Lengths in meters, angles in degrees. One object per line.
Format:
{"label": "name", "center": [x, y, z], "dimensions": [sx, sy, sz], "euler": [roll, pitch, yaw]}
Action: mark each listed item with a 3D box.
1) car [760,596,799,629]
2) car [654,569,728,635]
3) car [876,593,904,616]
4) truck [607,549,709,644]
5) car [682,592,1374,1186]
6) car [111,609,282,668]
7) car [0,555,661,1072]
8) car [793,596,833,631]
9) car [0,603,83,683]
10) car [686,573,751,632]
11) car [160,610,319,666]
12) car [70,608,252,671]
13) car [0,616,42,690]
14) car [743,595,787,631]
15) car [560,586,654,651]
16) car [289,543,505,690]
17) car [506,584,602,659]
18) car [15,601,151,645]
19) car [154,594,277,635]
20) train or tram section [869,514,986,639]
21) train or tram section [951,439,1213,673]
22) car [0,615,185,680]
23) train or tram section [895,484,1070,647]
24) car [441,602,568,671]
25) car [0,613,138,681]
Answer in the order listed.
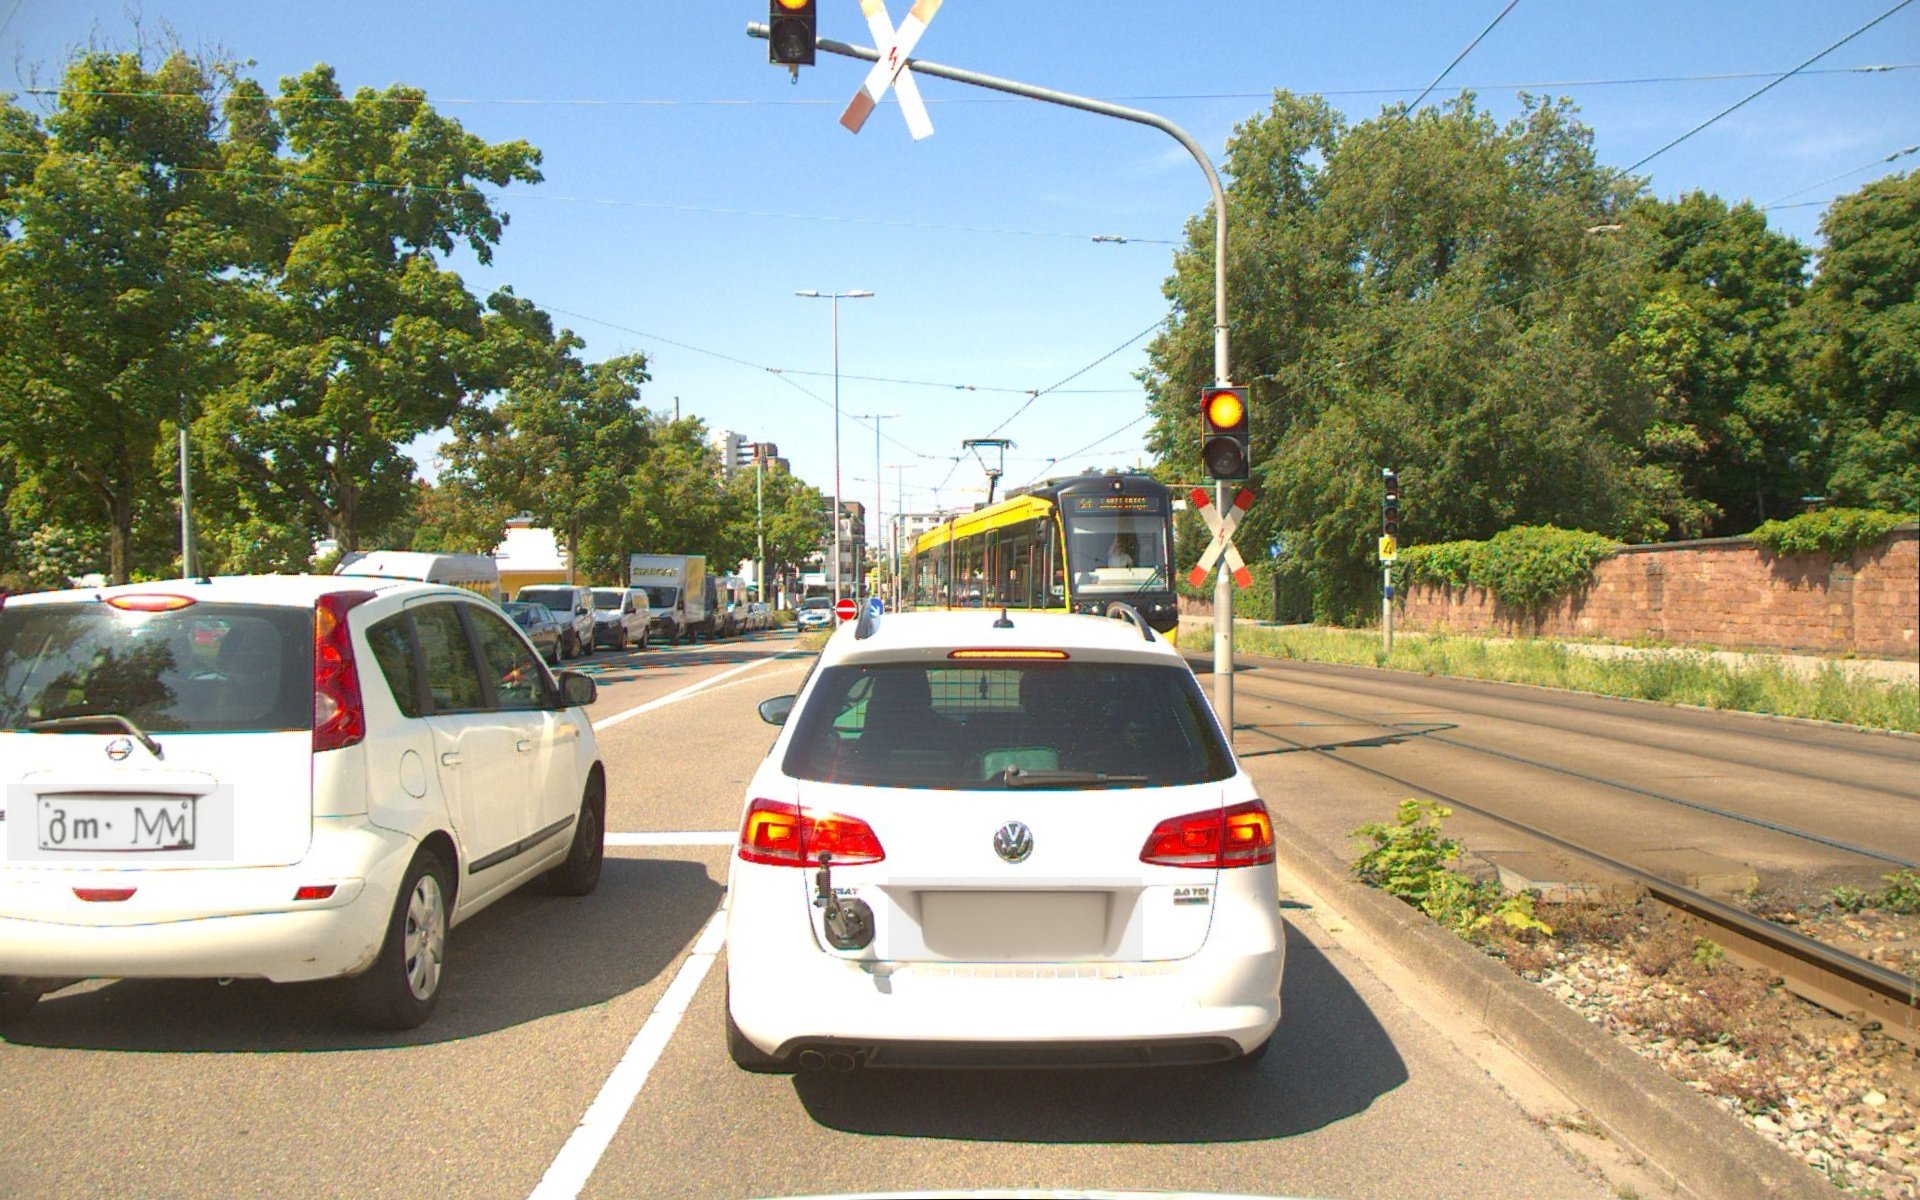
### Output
{"label": "car", "center": [-10.705, 0.719, 98.433], "dimensions": [1.826, 1.900, 5.412], "euler": [1, 0, -1]}
{"label": "car", "center": [-11.007, 0.069, 68.155], "dimensions": [2.079, 2.560, 5.733], "euler": [1, 0, 0]}
{"label": "car", "center": [-4.750, 0.281, 112.481], "dimensions": [1.670, 1.499, 4.589], "euler": [-1, 0, 0]}
{"label": "truck", "center": [-10.869, -0.141, 60.157], "dimensions": [2.371, 3.205, 6.996], "euler": [1, 0, 0]}
{"label": "car", "center": [0.148, 0.718, 6.189], "dimensions": [1.726, 1.455, 3.999], "euler": [-1, 0, -1]}
{"label": "car", "center": [-21.232, 1.059, 46.124], "dimensions": [3.909, 1.440, 1.728], "euler": [-2, 0, -5]}
{"label": "car", "center": [-2.555, 0.640, 7.314], "dimensions": [1.628, 1.575, 4.546], "euler": [0, 0, 0]}
{"label": "car", "center": [-7.130, 0.647, 80.411], "dimensions": [1.642, 1.580, 3.579], "euler": [-3, 0, -1]}
{"label": "car", "center": [-21.075, 0.965, 35.125], "dimensions": [3.909, 1.638, 1.728], "euler": [-2, 0, -5]}
{"label": "car", "center": [-10.984, 0.104, 75.591], "dimensions": [2.079, 2.560, 5.733], "euler": [1, 0, 0]}
{"label": "car", "center": [-21.274, 1.106, 48.937], "dimensions": [3.909, 1.440, 1.728], "euler": [-2, 0, -5]}
{"label": "car", "center": [-21.108, 1.028, 43.791], "dimensions": [3.909, 1.440, 1.728], "euler": [-2, 0, -5]}
{"label": "car", "center": [-20.726, 1.124, 32.863], "dimensions": [3.909, 1.440, 1.728], "euler": [-2, 0, -5]}
{"label": "car", "center": [-10.758, 0.676, 91.516], "dimensions": [1.826, 1.900, 5.412], "euler": [1, 0, -1]}
{"label": "car", "center": [-10.964, 0.532, 51.732], "dimensions": [1.826, 1.900, 5.412], "euler": [1, 0, -1]}
{"label": "car", "center": [-10.744, 0.278, 32.136], "dimensions": [2.079, 2.560, 5.817], "euler": [1, 0, 1]}
{"label": "car", "center": [-11.005, 0.534, 45.144], "dimensions": [1.828, 1.900, 5.068], "euler": [1, 0, -6]}
{"label": "car", "center": [-37.810, 0.988, 71.384], "dimensions": [4.698, 1.819, 2.062], "euler": [1, 0, -5]}
{"label": "car", "center": [-34.372, 0.673, 76.487], "dimensions": [4.698, 1.819, 2.062], "euler": [1, 0, -5]}
{"label": "train or tram section", "center": [-1.306, -0.764, 57.768], "dimensions": [2.817, 3.923, 10.519], "euler": [-1, 0, -8]}
{"label": "train or tram section", "center": [2.052, -0.778, 34.130], "dimensions": [2.817, 3.923, 12.369], "euler": [-1, 0, -8]}
{"label": "car", "center": [-21.730, 1.171, 41.250], "dimensions": [3.909, 1.440, 1.728], "euler": [-2, 0, -5]}
{"label": "train or tram section", "center": [0.321, -0.874, 46.409], "dimensions": [2.817, 3.923, 12.366], "euler": [-1, 0, -9]}
{"label": "car", "center": [-10.545, 0.805, 38.567], "dimensions": [1.826, 1.440, 4.278], "euler": [1, 0, -1]}
{"label": "car", "center": [-21.615, 1.118, 38.642], "dimensions": [3.909, 1.440, 1.728], "euler": [-2, 0, -5]}
